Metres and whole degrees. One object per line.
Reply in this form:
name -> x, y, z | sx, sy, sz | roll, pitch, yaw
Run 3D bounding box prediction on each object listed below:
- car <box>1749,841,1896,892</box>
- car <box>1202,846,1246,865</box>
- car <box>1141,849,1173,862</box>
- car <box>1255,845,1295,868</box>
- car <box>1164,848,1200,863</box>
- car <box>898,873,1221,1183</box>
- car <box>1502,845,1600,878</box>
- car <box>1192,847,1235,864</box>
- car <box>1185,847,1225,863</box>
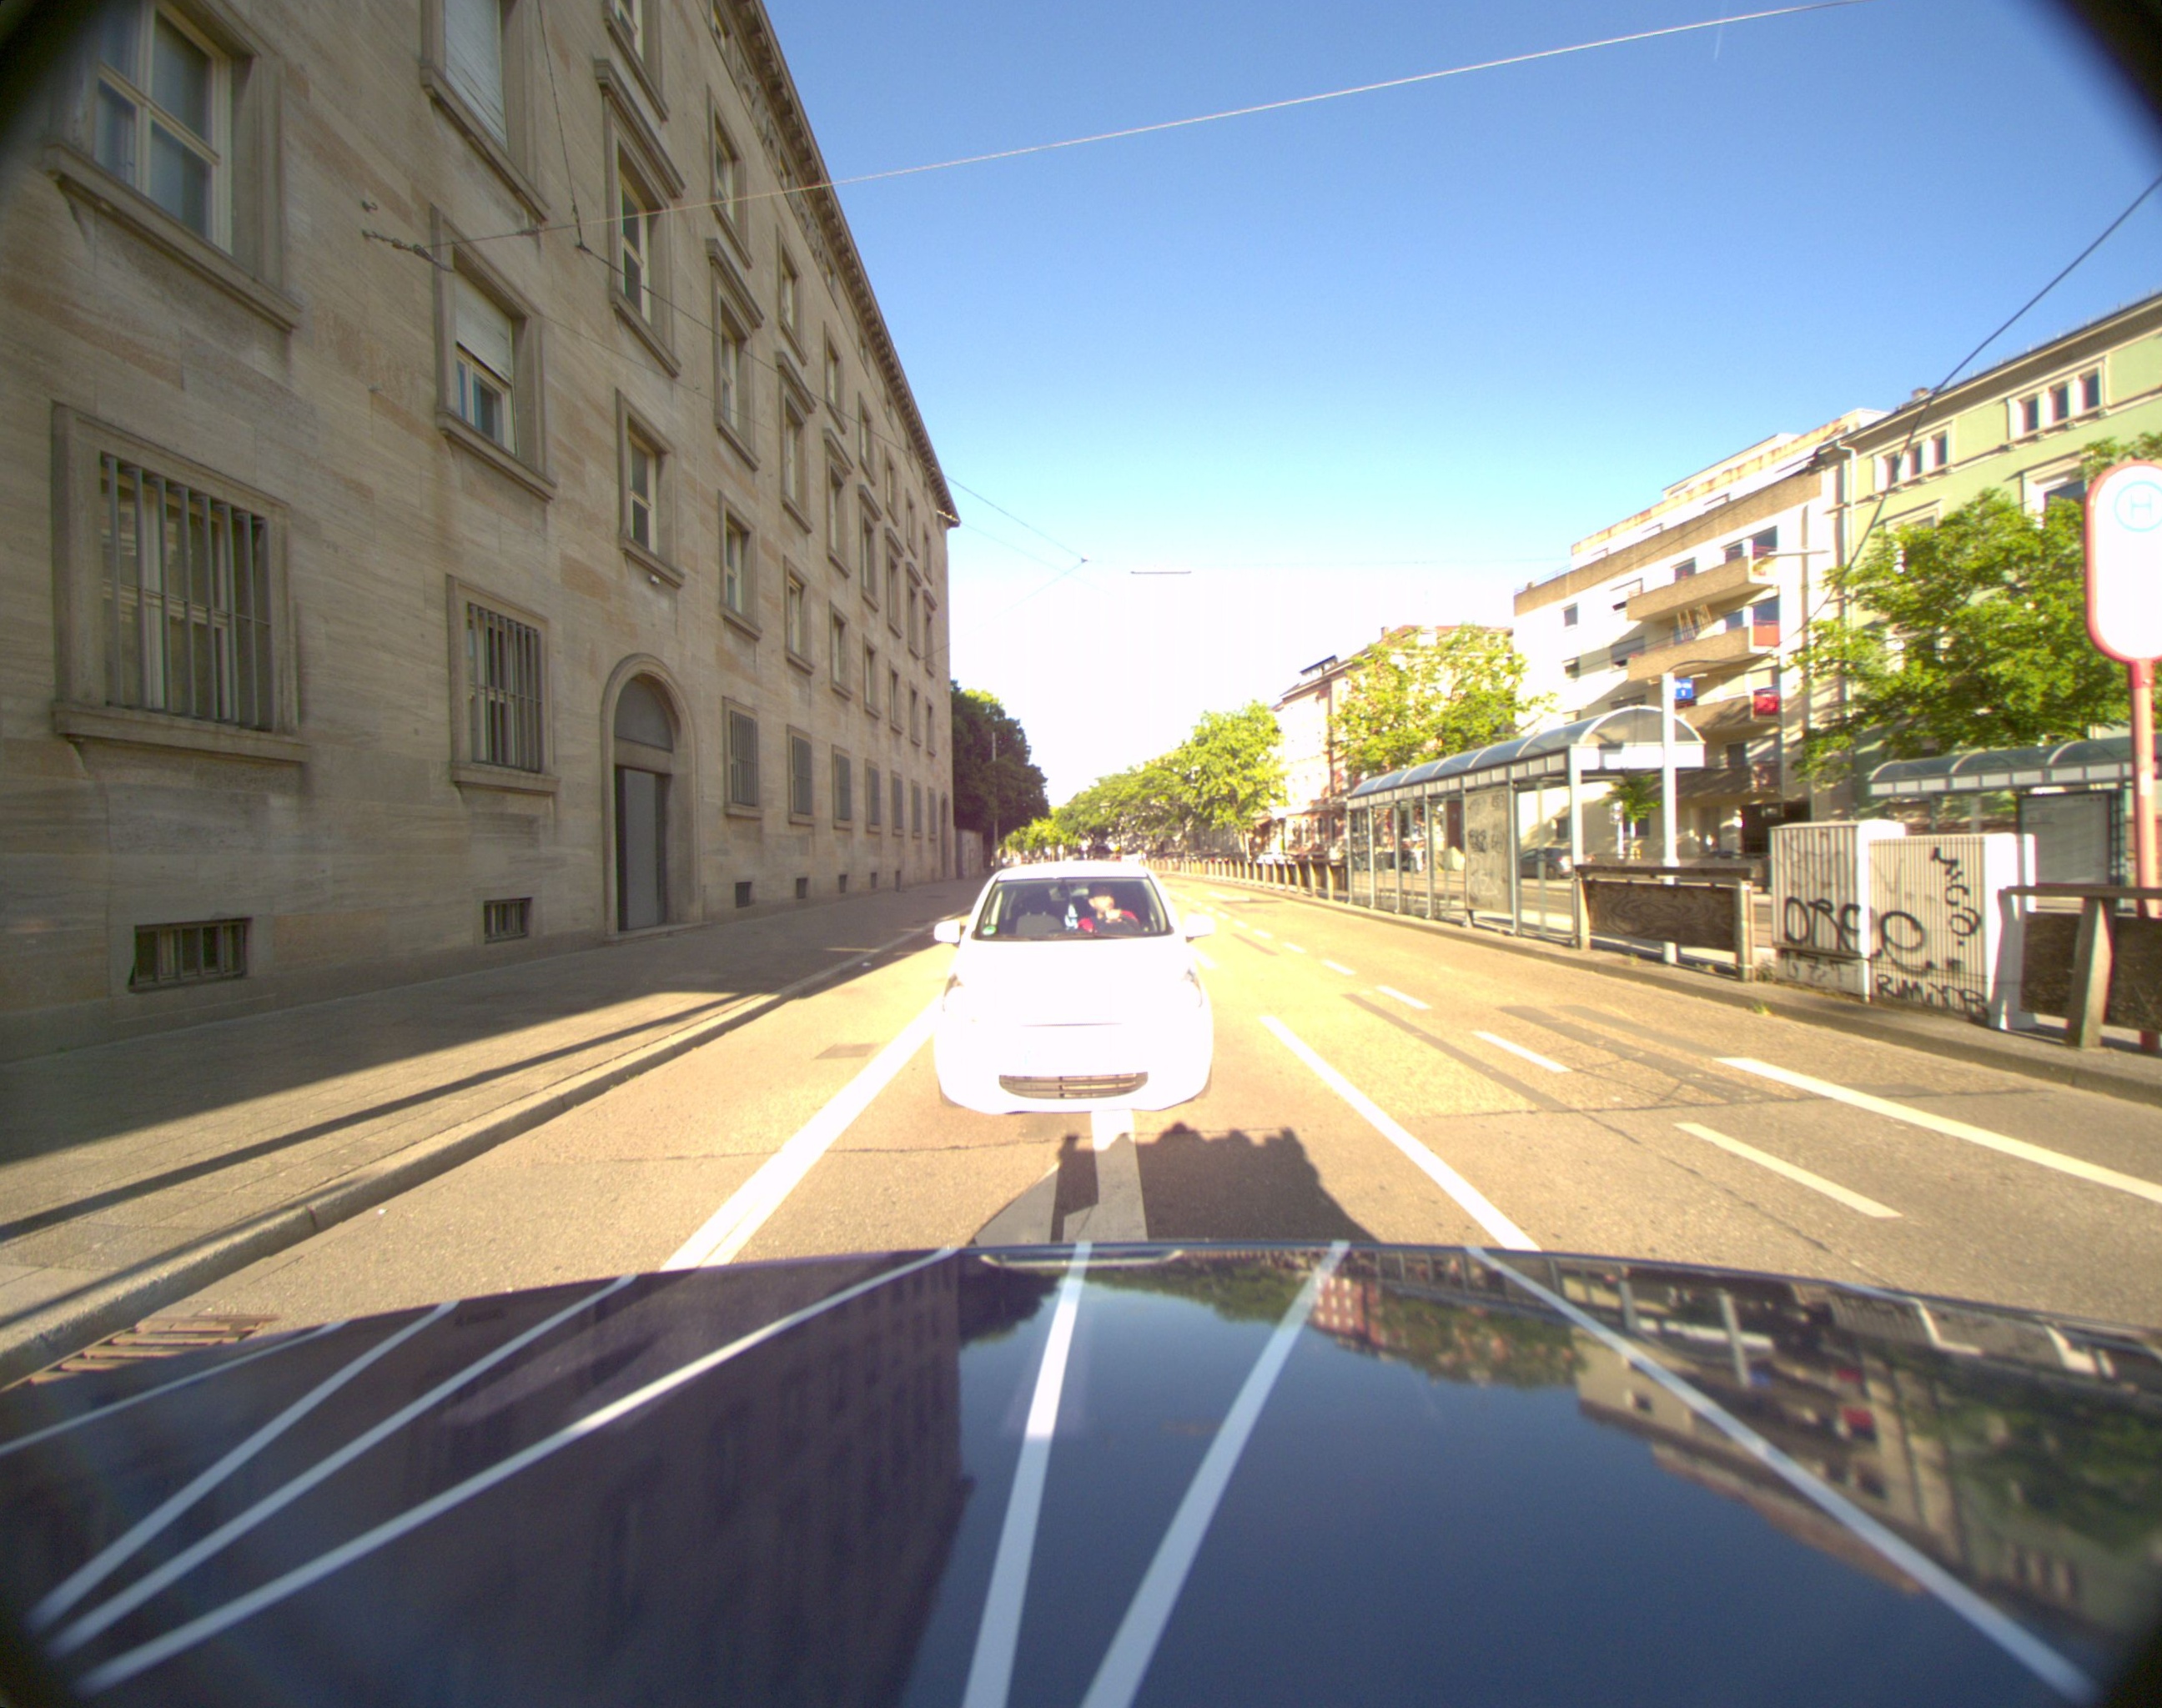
car -> 23.928, 0.380, 24.544 | 3.796, 1.526, 1.772 | -1, 0, -17
car -> 13.630, 0.144, 72.585 | 3.996, 1.674, 2.000 | -1, 0, 4
car -> 9.557, 0.147, 95.708 | 3.864, 1.583, 2.001 | -1, 0, 4
car -> 16.298, 0.178, 63.670 | 1.994, 1.713, 4.007 | 0, 2, 34
car -> 11.430, 0.160, 86.082 | 3.864, 1.583, 2.001 | -1, 0, 5
car -> -0.085, 0.929, 5.682 | 1.612, 1.450, 3.667 | -1, 0, 1
car -> 20.840, 0.328, 33.827 | 1.615, 1.387, 3.516 | -1, 0, -19
car -> 13.344, 0.129, 76.719 | 3.996, 1.674, 2.000 | -1, 0, 4
car -> 13.151, 0.101, 80.522 | 3.996, 1.674, 2.000 | -1, 0, 4
